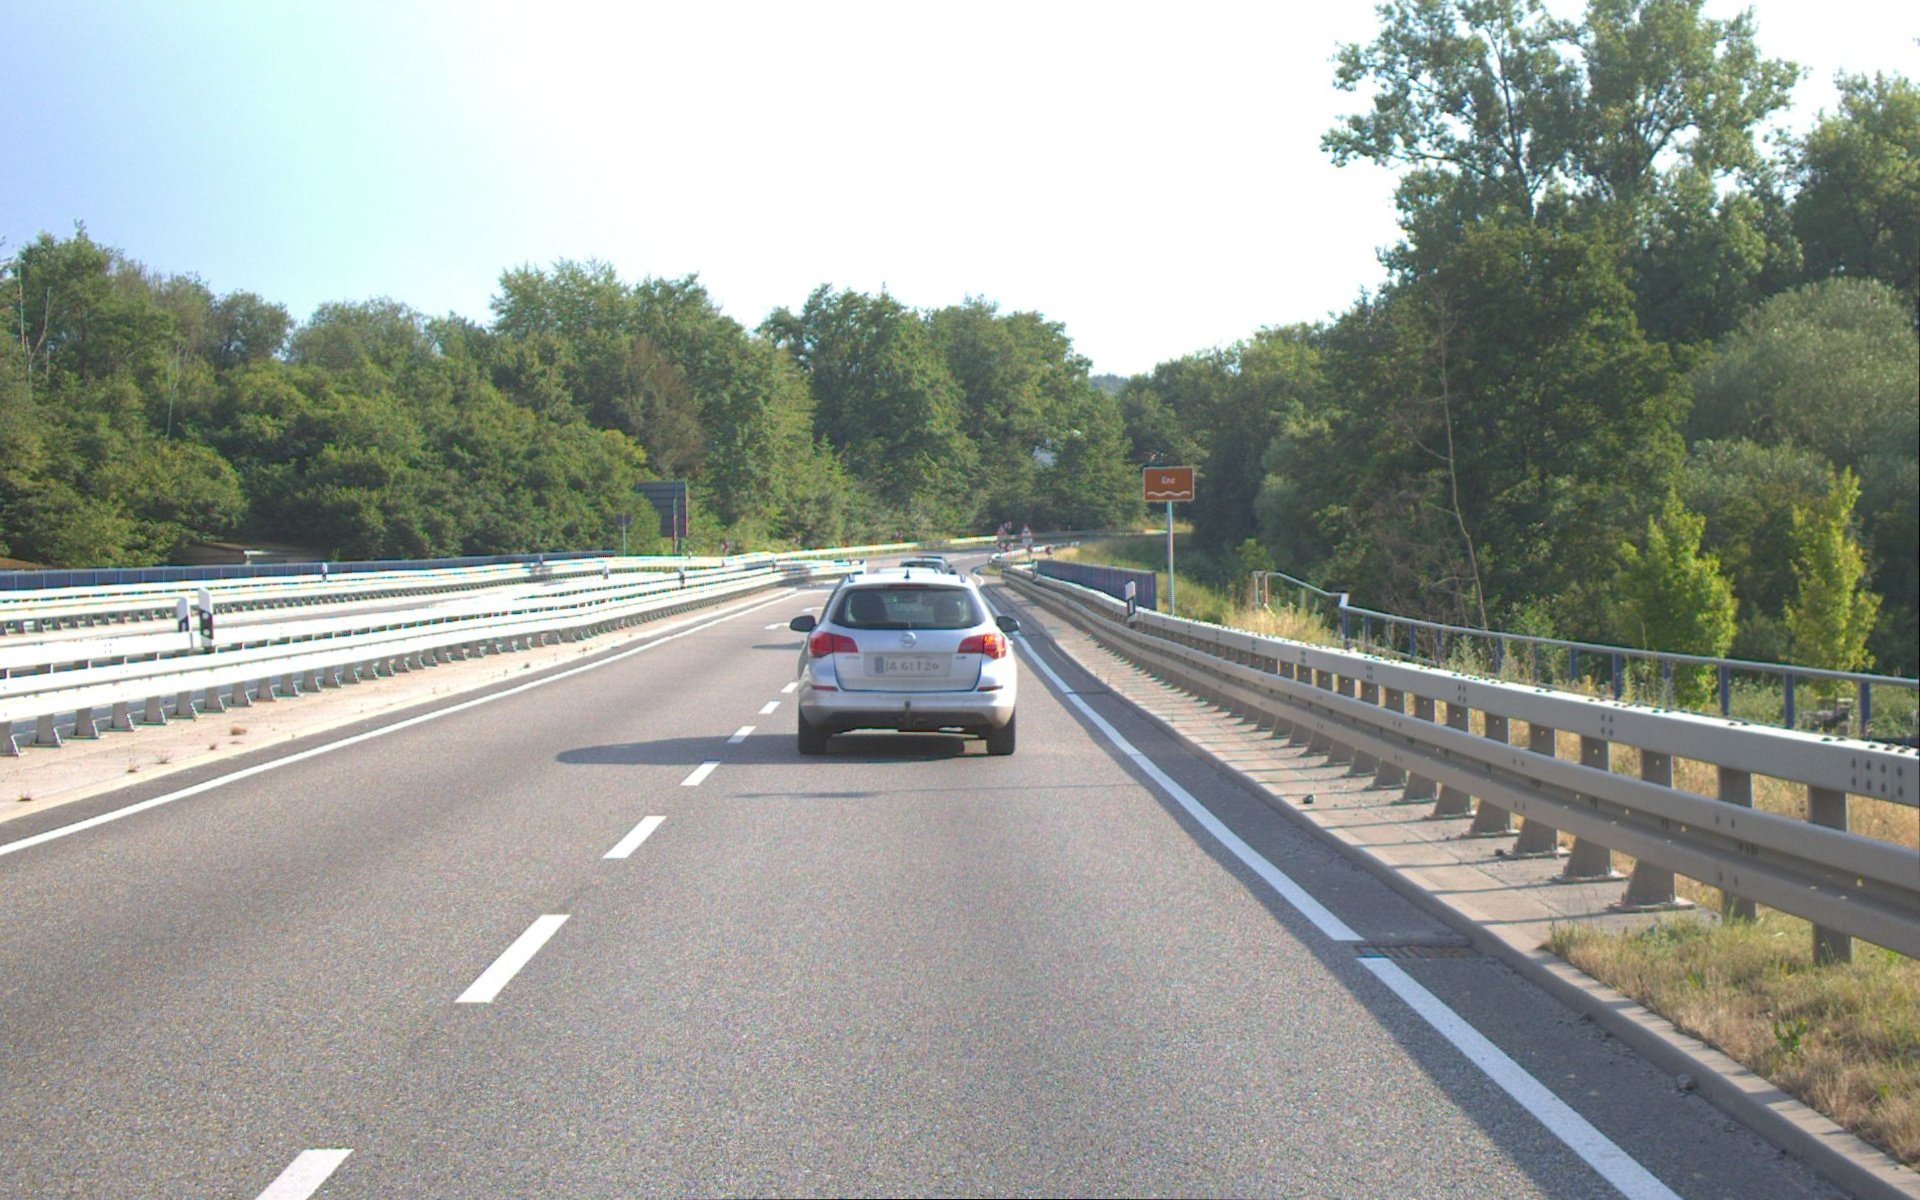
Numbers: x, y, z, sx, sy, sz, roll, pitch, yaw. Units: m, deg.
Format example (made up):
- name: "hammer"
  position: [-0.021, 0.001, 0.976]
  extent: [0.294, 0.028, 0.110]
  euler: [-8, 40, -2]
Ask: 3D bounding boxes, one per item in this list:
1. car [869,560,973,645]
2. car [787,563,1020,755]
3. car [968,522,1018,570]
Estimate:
- name: "car"
  position: [-0.716, 0.025, 62.506]
  extent: [1.809, 1.481, 4.000]
  euler: [1, 1, -1]
- name: "car"
  position: [-0.470, 0.444, 28.972]
  extent: [1.809, 1.481, 4.000]
  euler: [1, 1, -1]
- name: "car"
  position: [1.420, -2.336, 149.713]
  extent: [1.993, 2.007, 4.000]
  euler: [1, 0, -1]
